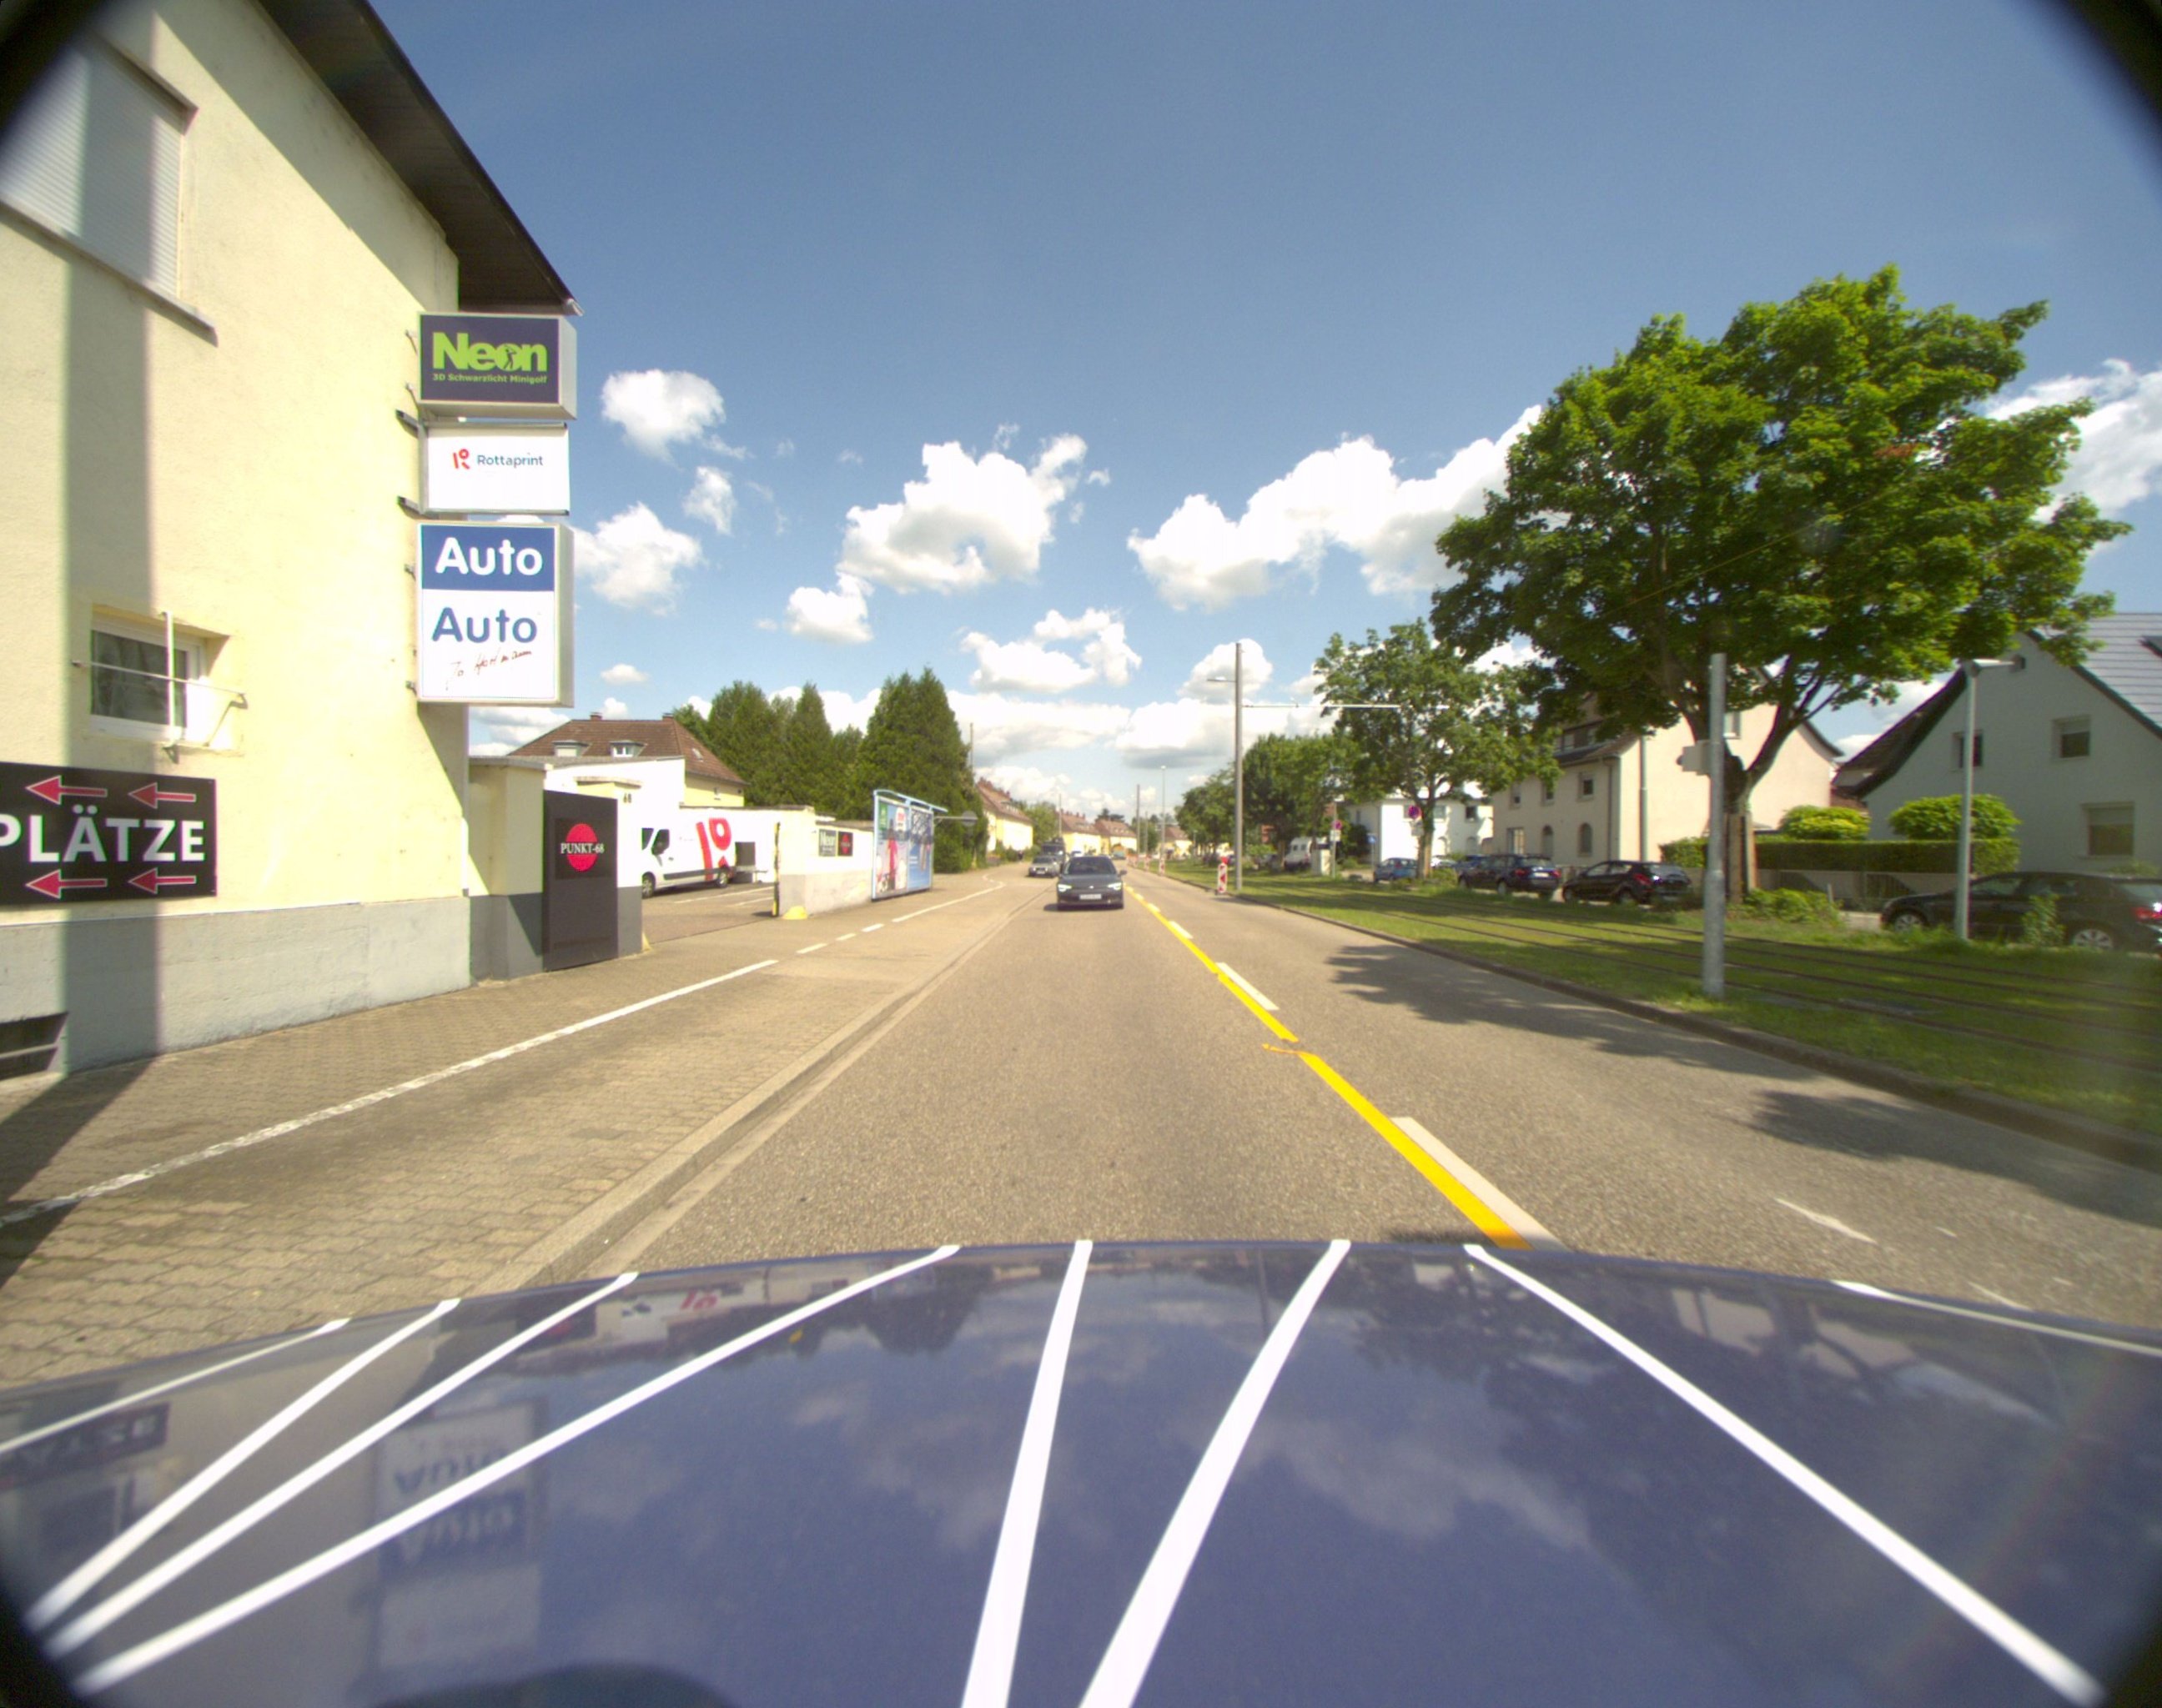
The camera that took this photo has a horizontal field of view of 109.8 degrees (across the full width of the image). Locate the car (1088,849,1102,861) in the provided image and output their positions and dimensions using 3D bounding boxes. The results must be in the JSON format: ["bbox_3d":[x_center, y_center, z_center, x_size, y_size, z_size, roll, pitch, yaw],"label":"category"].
[{"bbox_3d":[1.920,0.124,105.243,1.998,1.566,4.000,0,0,1],"label":"car"}]

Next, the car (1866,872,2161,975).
[{"bbox_3d":[16.299,1.094,12.848,1.998,1.310,3.852,3,1,1],"label":"car"}]

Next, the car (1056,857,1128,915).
[{"bbox_3d":[0.270,0.834,21.513,1.786,1.412,4.290,-2,-1,-1],"label":"car"}]

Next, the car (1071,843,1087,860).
[{"bbox_3d":[-0.244,-0.371,114.552,1.923,2.522,5.346,1,0,5],"label":"car"}]

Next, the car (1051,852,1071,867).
[{"bbox_3d":[-1.830,0.502,71.072,1.725,1.288,4.128,1,1,0],"label":"car"}]

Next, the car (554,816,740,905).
[{"bbox_3d":[-13.200,0.037,23.782,1.998,2.430,6.171,0,3,2],"label":"car"}]

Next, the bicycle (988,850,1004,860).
[{"bbox_3d":[-9.057,0.140,81.233,1.693,1.096,0.290,0,1,1],"label":"bicycle"}]

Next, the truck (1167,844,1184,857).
[{"bbox_3d":[26.512,-0.965,213.540,2.698,3.346,8.062,2,0,22],"label":"truck"}]

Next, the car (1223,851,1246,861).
[{"bbox_3d":[17.213,0.220,85.283,1.785,1.087,3.836,1,1,1],"label":"car"}]

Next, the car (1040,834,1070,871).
[{"bbox_3d":[-2.012,-0.117,60.074,2.001,2.745,4.878,1,1,1],"label":"car"}]

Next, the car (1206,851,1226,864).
[{"bbox_3d":[17.916,0.477,100.963,1.910,1.569,4.101,4,-1,2],"label":"car"}]

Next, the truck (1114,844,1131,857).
[{"bbox_3d":[9.787,-0.943,179.206,2.529,2.931,7.867,1,1,13],"label":"truck"}]

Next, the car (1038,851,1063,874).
[{"bbox_3d":[-2.167,0.586,54.183,1.696,1.507,4.354,1,1,-1],"label":"car"}]

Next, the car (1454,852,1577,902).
[{"bbox_3d":[16.422,0.796,29.017,1.999,1.681,4.390,1,1,-2],"label":"car"}]

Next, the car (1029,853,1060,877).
[{"bbox_3d":[-2.346,0.695,49.284,1.655,1.423,4.096,1,1,2],"label":"car"}]

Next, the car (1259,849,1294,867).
[{"bbox_3d":[16.901,0.315,65.910,1.998,1.497,4.486,1,1,1],"label":"car"}]

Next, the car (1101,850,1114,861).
[{"bbox_3d":[4.450,0.268,128.339,1.997,1.791,4.002,1,0,6],"label":"car"}]

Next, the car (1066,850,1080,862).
[{"bbox_3d":[-1.028,0.218,100.965,1.756,1.480,4.627,2,1,1],"label":"car"}]

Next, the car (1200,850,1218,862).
[{"bbox_3d":[17.832,0.273,106.042,1.998,1.531,4.322,1,1,2],"label":"car"}]

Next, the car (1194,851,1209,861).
[{"bbox_3d":[19.712,0.336,124.821,1.998,1.531,4.323,1,1,4],"label":"car"}]

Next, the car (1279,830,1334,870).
[{"bbox_3d":[16.702,-0.293,56.672,1.999,2.715,6.461,1,0,-1],"label":"car"}]

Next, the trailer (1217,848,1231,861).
[{"bbox_3d":[17.115,0.004,90.858,1.302,1.510,2.282,1,1,1],"label":"trailer"}]

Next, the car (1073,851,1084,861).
[{"bbox_3d":[-0.364,0.269,109.897,1.358,1.299,3.543,1,1,2],"label":"car"}]

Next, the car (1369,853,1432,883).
[{"bbox_3d":[16.427,0.681,39.244,1.758,1.427,3.889,1,1,3],"label":"car"}]

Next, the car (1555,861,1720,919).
[{"bbox_3d":[16.593,1.009,22.948,1.998,1.430,3.999,2,1,1],"label":"car"}]

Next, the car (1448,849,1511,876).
[{"bbox_3d":[25.250,0.533,48.310,1.907,1.568,3.999,1,1,1],"label":"car"}]

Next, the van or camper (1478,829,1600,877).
[{"bbox_3d":[31.431,-0.079,52.302,6.744,3.203,2.634,1,1,1],"label":"van or camper"}]
